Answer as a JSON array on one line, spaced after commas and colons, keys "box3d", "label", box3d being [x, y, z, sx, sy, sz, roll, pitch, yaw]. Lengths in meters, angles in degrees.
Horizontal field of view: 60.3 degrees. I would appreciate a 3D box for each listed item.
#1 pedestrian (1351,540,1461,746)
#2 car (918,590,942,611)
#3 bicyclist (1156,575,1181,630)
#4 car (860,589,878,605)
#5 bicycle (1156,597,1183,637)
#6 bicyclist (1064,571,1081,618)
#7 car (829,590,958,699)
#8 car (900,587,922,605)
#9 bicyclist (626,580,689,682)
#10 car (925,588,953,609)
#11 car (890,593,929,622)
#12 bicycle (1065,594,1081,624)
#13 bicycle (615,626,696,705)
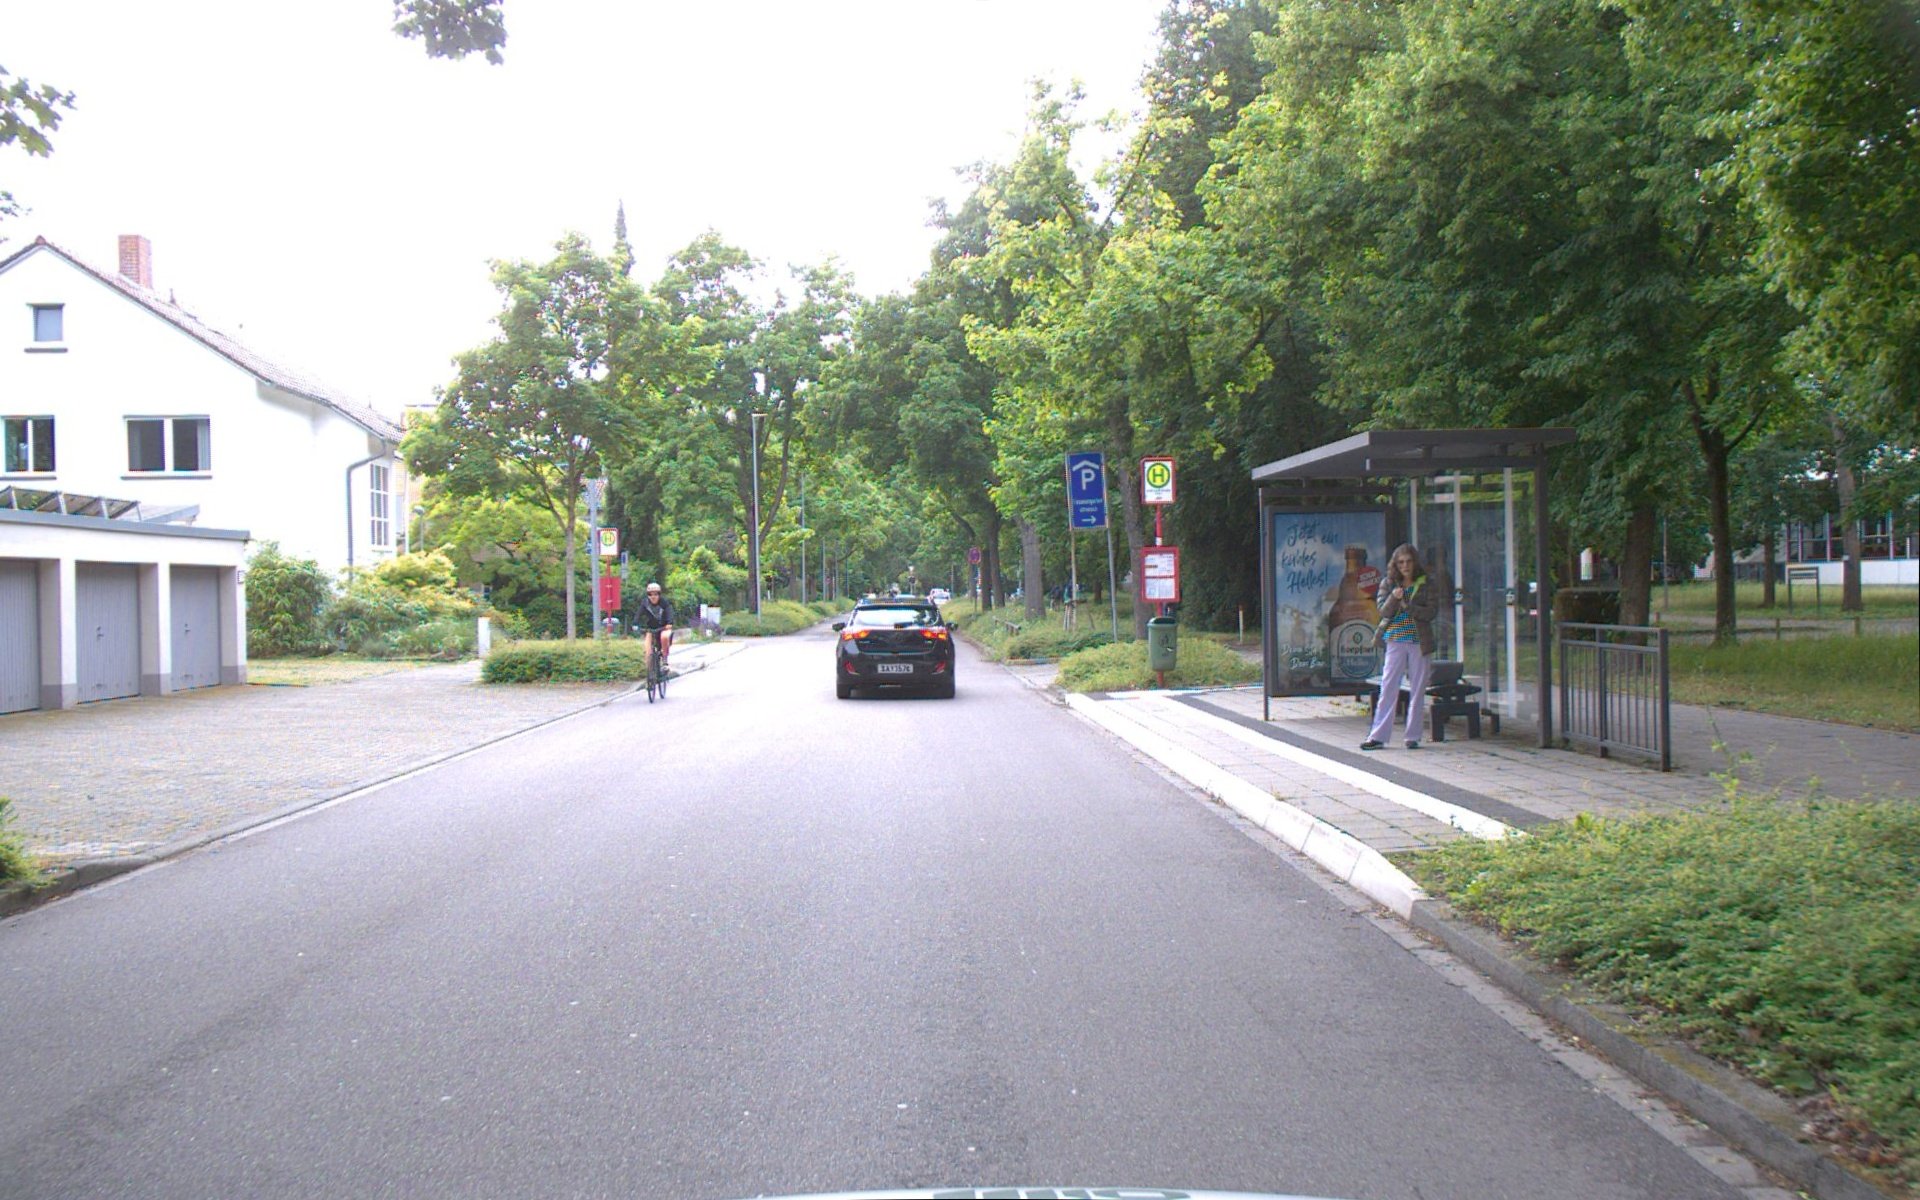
[{"box3d": [3.616, 0.338, 13.448, 0.640, 1.611, 0.698, -2, 0, -2], "label": "pedestrian"}, {"box3d": [-3.192, 0.038, 174.679, 1.957, 2.048, 3.991, -2, 0, -9], "label": "car"}, {"box3d": [5.505, 0.062, 43.717, 0.584, 1.434, 0.758, -2, 0, 5], "label": "bicyclist"}, {"box3d": [-8.478, -0.270, 154.663, 1.531, 1.462, 4.211, -2, 0, -5], "label": "car"}, {"box3d": [5.528, 0.448, 43.749, 0.594, 0.992, 1.945, -2, 0, 5], "label": "bicycle"}, {"box3d": [3.884, -0.199, 56.996, 0.523, 1.576, 0.758, -2, 0, 5], "label": "bicyclist"}, {"box3d": [-1.037, 0.616, 25.247, 1.809, 1.488, 3.825, -1, 1, -3], "label": "car"}, {"box3d": [-4.504, -0.393, 152.942, 1.953, 1.512, 3.998, -2, 0, -2], "label": "car"}, {"box3d": [-4.609, 0.457, 25.238, 0.768, 1.495, 0.937, -2, 0, -2], "label": "bicyclist"}, {"box3d": [-1.624, -0.092, 125.986, 1.862, 1.512, 3.997, -1, 0, -4], "label": "car"}, {"box3d": [-2.797, 0.394, 90.937, 1.828, 1.488, 4.112, -2, 0, -5], "label": "car"}, {"box3d": [3.891, 0.310, 56.950, 0.481, 0.992, 1.945, -2, 0, 5], "label": "bicycle"}, {"box3d": [-4.608, 0.965, 25.187, 0.778, 1.043, 2.563, -2, 1, -1], "label": "bicycle"}]
